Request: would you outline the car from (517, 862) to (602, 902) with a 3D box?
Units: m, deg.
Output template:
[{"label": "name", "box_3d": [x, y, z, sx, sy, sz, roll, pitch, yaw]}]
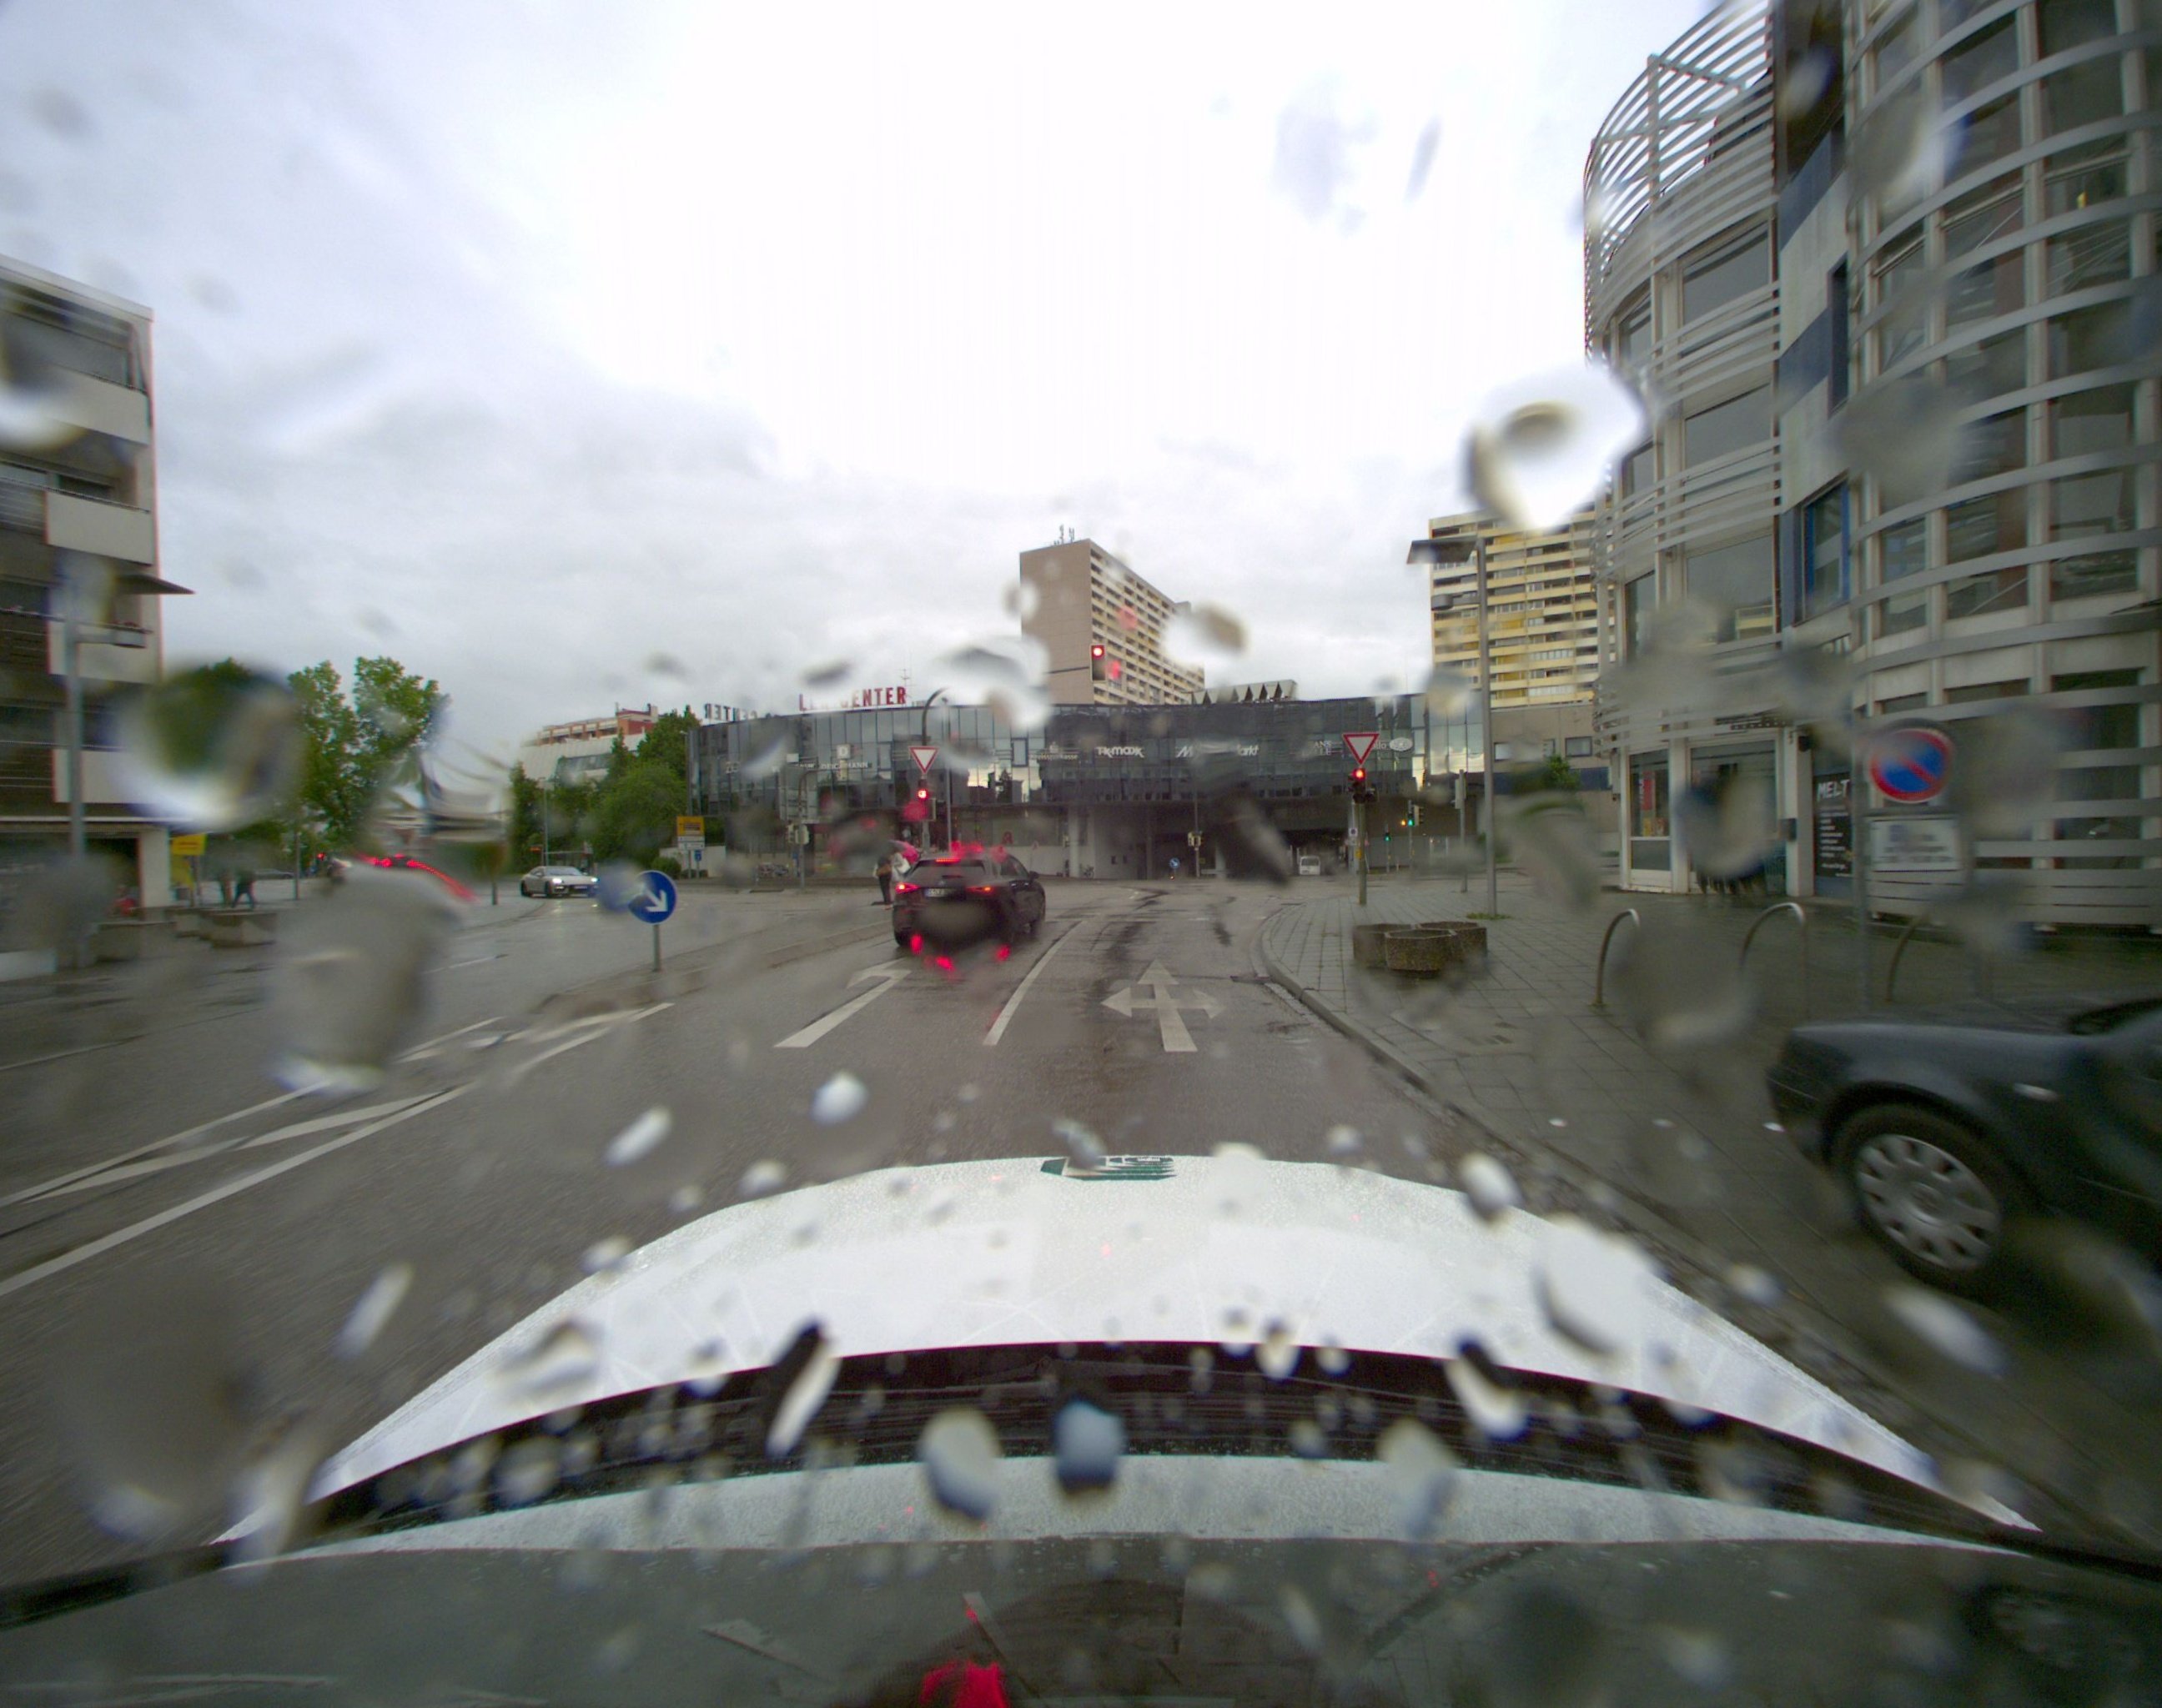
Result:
[{"label": "car", "box_3d": [-23.814, 1.221, 37.134, 4.377, 1.512, 2.012, 3, 1, 40]}]

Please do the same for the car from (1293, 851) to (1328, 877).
[{"label": "car", "box_3d": [16.886, 0.696, 59.909, 1.976, 1.717, 4.022, -2, 0, 22]}]

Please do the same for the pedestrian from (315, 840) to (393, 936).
[{"label": "pedestrian", "box_3d": [-16.010, 0.733, 17.958, 0.744, 2.014, 0.923, 2, -1, 8]}]

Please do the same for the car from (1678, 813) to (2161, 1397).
[{"label": "car", "box_3d": [3.720, 0.655, 1.759, 1.695, 1.486, 3.995, -4, 1, -4]}]

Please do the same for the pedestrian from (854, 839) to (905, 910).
[{"label": "pedestrian", "box_3d": [-4.904, 0.500, 19.802, 0.916, 1.659, 0.746, 2, 0, -40]}]

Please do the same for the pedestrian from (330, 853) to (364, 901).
[{"label": "pedestrian", "box_3d": [-32.060, 0.985, 35.587, 1.033, 2.013, 0.952, 2, 0, -43]}]

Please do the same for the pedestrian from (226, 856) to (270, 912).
[{"label": "pedestrian", "box_3d": [-30.836, 1.097, 30.164, 1.033, 2.013, 0.952, 2, 0, -43]}]

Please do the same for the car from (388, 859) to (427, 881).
[{"label": "car", "box_3d": [-66.339, 1.544, 80.183, 3.948, 2.013, 2.013, -2, 0, 36]}]

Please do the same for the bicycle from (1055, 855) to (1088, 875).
[{"label": "bicycle", "box_3d": [-0.697, 0.844, 62.394, 2.428, 1.464, 0.652, -1, 2, -15]}]

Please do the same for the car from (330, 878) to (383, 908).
[{"label": "car", "box_3d": [-53.223, 2.850, 59.801, 3.948, 2.013, 2.013, -2, 0, 36]}]

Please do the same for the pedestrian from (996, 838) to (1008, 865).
[{"label": "pedestrian", "box_3d": [-6.020, -0.213, 61.962, 0.785, 2.013, 0.670, -2, 0, -3]}]

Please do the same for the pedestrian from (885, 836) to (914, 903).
[{"label": "pedestrian", "box_3d": [-4.645, 0.388, 20.858, 0.611, 1.659, 0.668, 2, 0, -18]}]

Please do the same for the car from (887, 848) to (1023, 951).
[{"label": "car", "box_3d": [-1.950, 0.635, 13.706, 1.800, 1.419, 3.996, -2, 0, -3]}]
